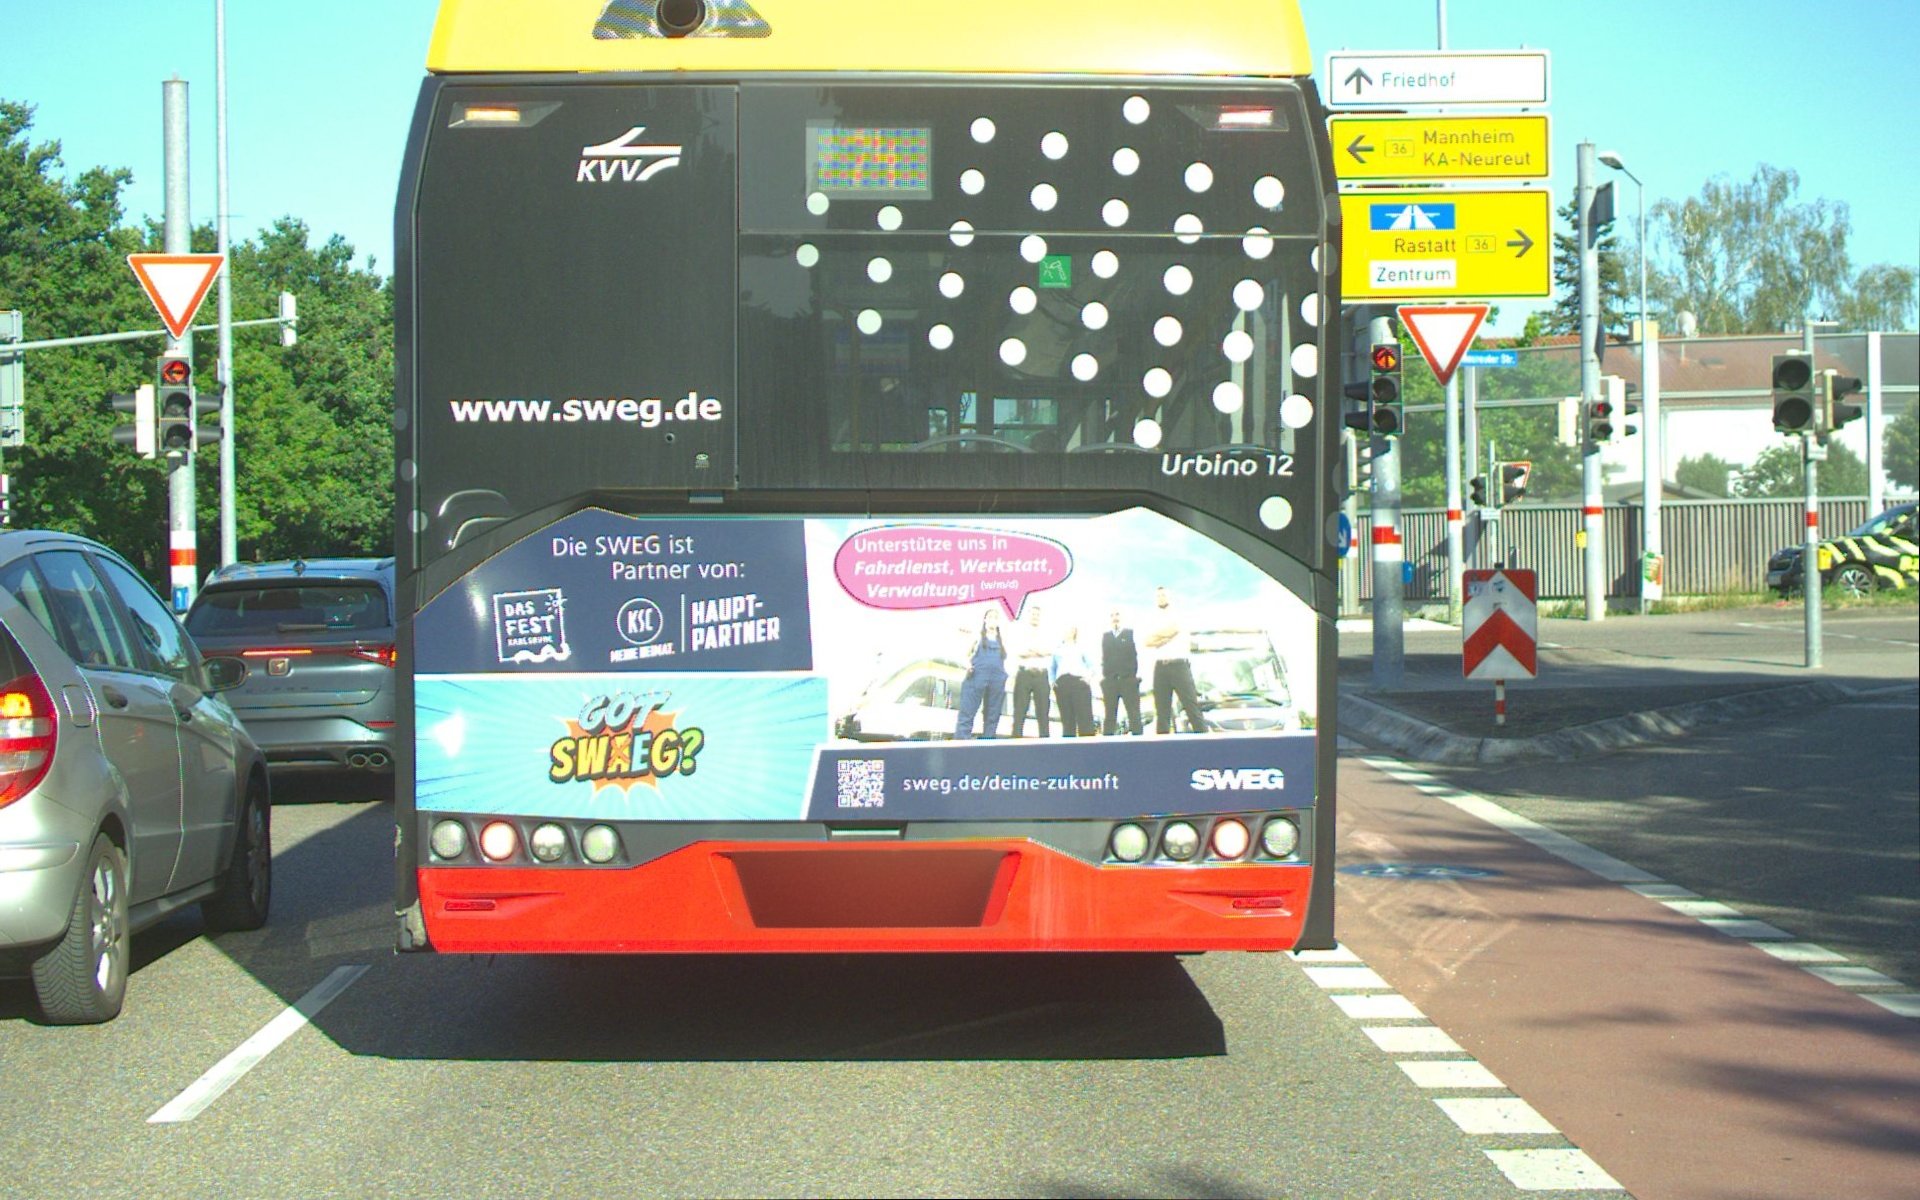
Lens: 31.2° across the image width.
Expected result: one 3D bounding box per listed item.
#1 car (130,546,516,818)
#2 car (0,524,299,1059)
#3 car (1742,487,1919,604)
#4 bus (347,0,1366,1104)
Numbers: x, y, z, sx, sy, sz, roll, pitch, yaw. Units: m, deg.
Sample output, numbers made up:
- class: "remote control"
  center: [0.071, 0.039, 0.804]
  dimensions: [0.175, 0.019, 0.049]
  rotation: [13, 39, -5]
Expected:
- class: "car"
  center: [-3.808, 0.430, 21.129]
  dimensions: [1.692, 1.453, 3.751]
  rotation: [-2, 1, -1]
- class: "car"
  center: [-3.602, 0.561, 12.197]
  dimensions: [1.761, 1.584, 4.000]
  rotation: [-2, 1, -1]
- class: "car"
  center: [13.185, -0.798, 47.922]
  dimensions: [4.066, 1.521, 1.769]
  rotation: [-2, 1, -5]
- class: "bus"
  center: [-0.290, -0.402, 14.895]
  dimensions: [2.642, 3.156, 11.861]
  rotation: [0, 1, 0]
